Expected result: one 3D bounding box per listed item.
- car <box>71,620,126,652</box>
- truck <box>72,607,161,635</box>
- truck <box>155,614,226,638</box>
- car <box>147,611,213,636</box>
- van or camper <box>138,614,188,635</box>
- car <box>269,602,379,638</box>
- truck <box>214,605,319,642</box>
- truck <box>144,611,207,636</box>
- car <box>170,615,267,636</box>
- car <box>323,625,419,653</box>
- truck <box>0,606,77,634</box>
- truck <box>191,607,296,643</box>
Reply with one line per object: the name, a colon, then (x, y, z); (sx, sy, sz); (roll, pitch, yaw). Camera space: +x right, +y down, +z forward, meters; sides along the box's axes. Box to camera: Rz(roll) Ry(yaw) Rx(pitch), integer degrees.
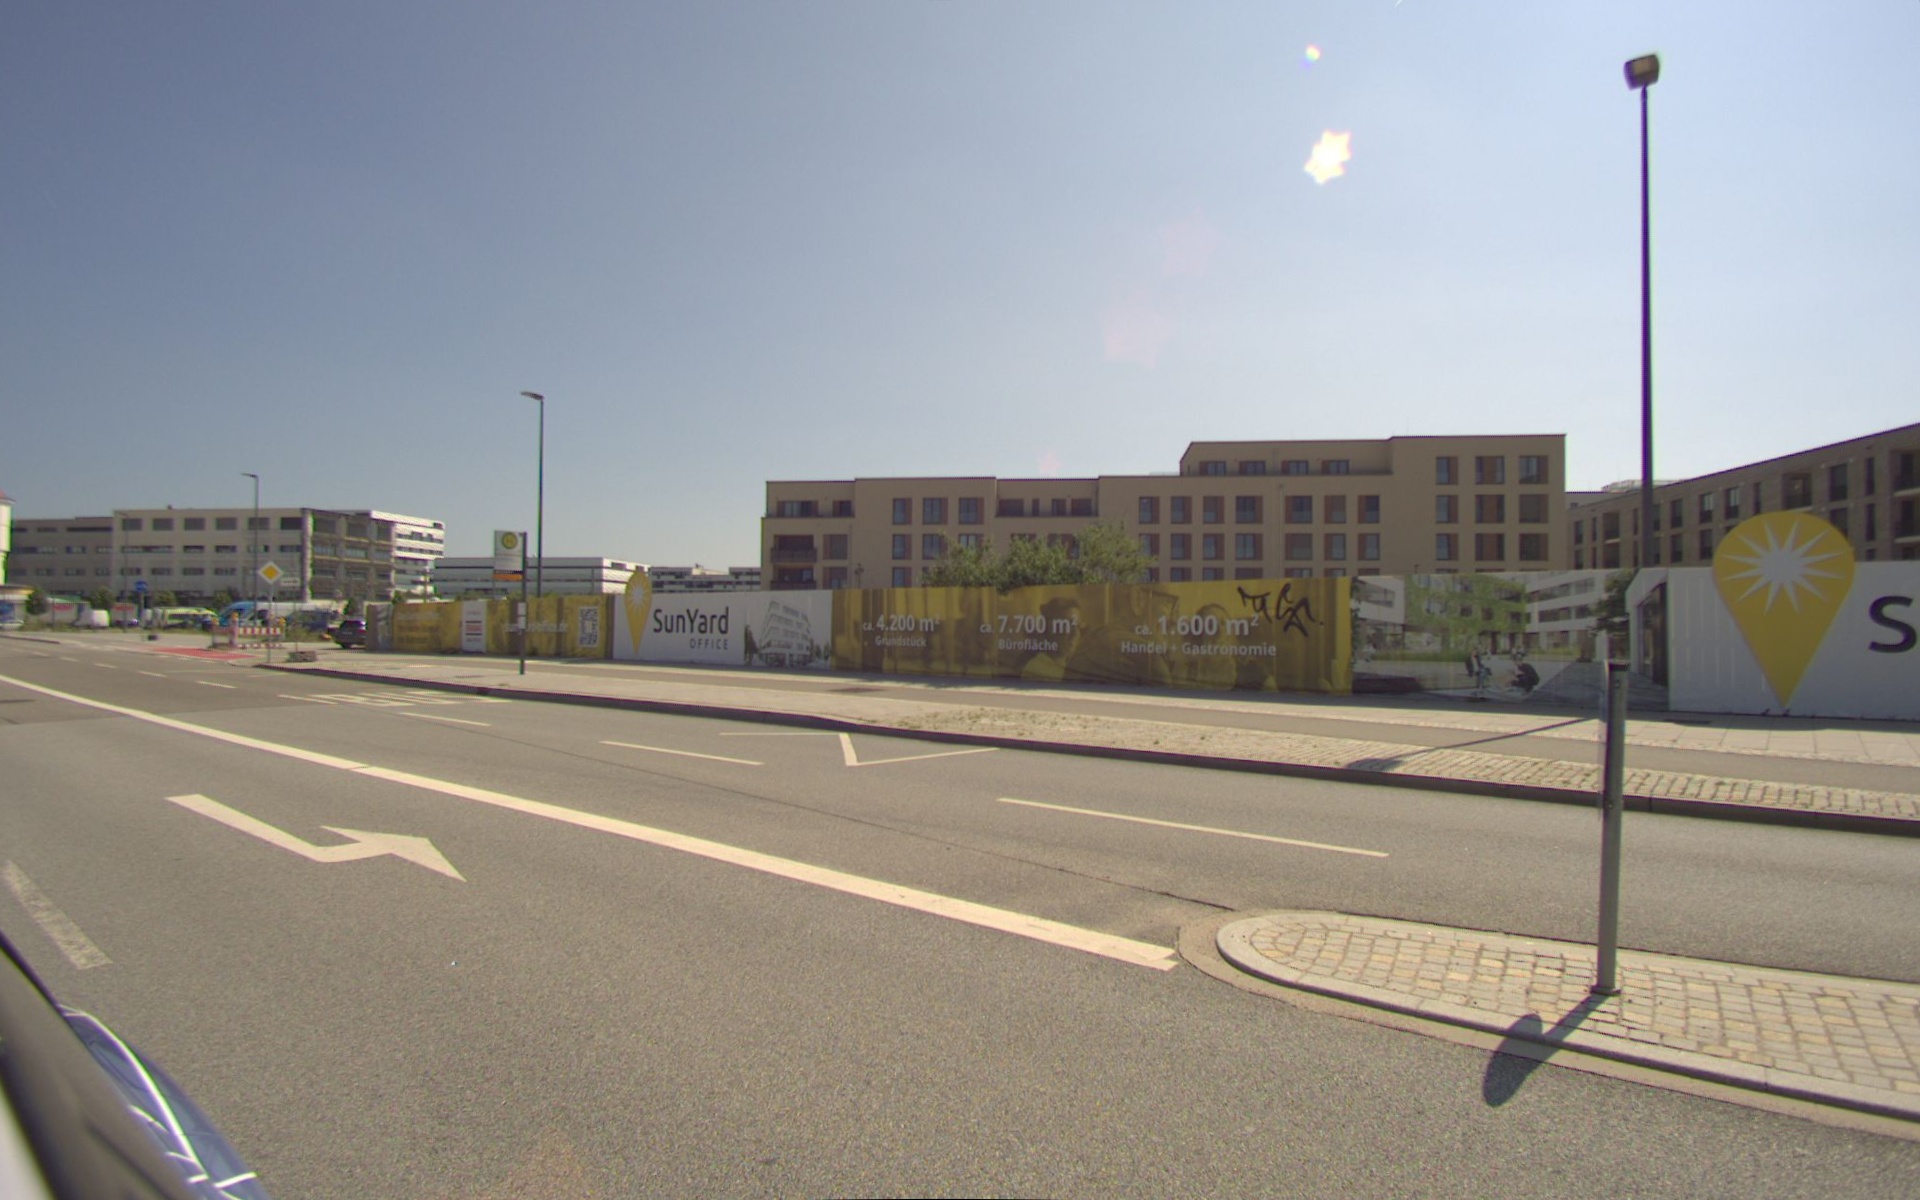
car: (-44.670, 1.851, 52.457); (3.677, 1.488, 1.590); (0, -3, 42)
truck: (-138.910, 3.346, 166.933); (3.330, 4.307, 10.844); (0, 0, 28)
truck: (-94.682, 3.178, 124.623); (2.596, 2.847, 6.580); (-2, -1, 34)
car: (-61.454, 1.848, 79.749); (3.939, 1.918, 1.829); (2, -3, -43)
van or camper: (-104.073, 3.159, 132.204); (2.258, 2.682, 4.850); (-2, -1, 40)
car: (-40.106, 1.318, 63.961); (2.391, 2.190, 5.393); (-1, -3, 36)
truck: (-47.561, 1.654, 69.535); (2.272, 2.381, 5.512); (-1, -3, 38)
truck: (-100.650, 2.947, 129.917); (2.569, 2.923, 6.082); (0, 1, 41)
car: (-56.190, 1.898, 76.780); (2.104, 1.485, 5.597); (-2, -1, 37)
car: (-28.678, 1.903, 49.414); (1.975, 1.328, 4.241); (0, -2, 5)
truck: (-143.840, 3.030, 156.444); (3.280, 4.098, 10.899); (0, 0, 22)
truck: (-52.763, 1.864, 74.661); (2.273, 2.563, 5.943); (-1, -3, 40)
